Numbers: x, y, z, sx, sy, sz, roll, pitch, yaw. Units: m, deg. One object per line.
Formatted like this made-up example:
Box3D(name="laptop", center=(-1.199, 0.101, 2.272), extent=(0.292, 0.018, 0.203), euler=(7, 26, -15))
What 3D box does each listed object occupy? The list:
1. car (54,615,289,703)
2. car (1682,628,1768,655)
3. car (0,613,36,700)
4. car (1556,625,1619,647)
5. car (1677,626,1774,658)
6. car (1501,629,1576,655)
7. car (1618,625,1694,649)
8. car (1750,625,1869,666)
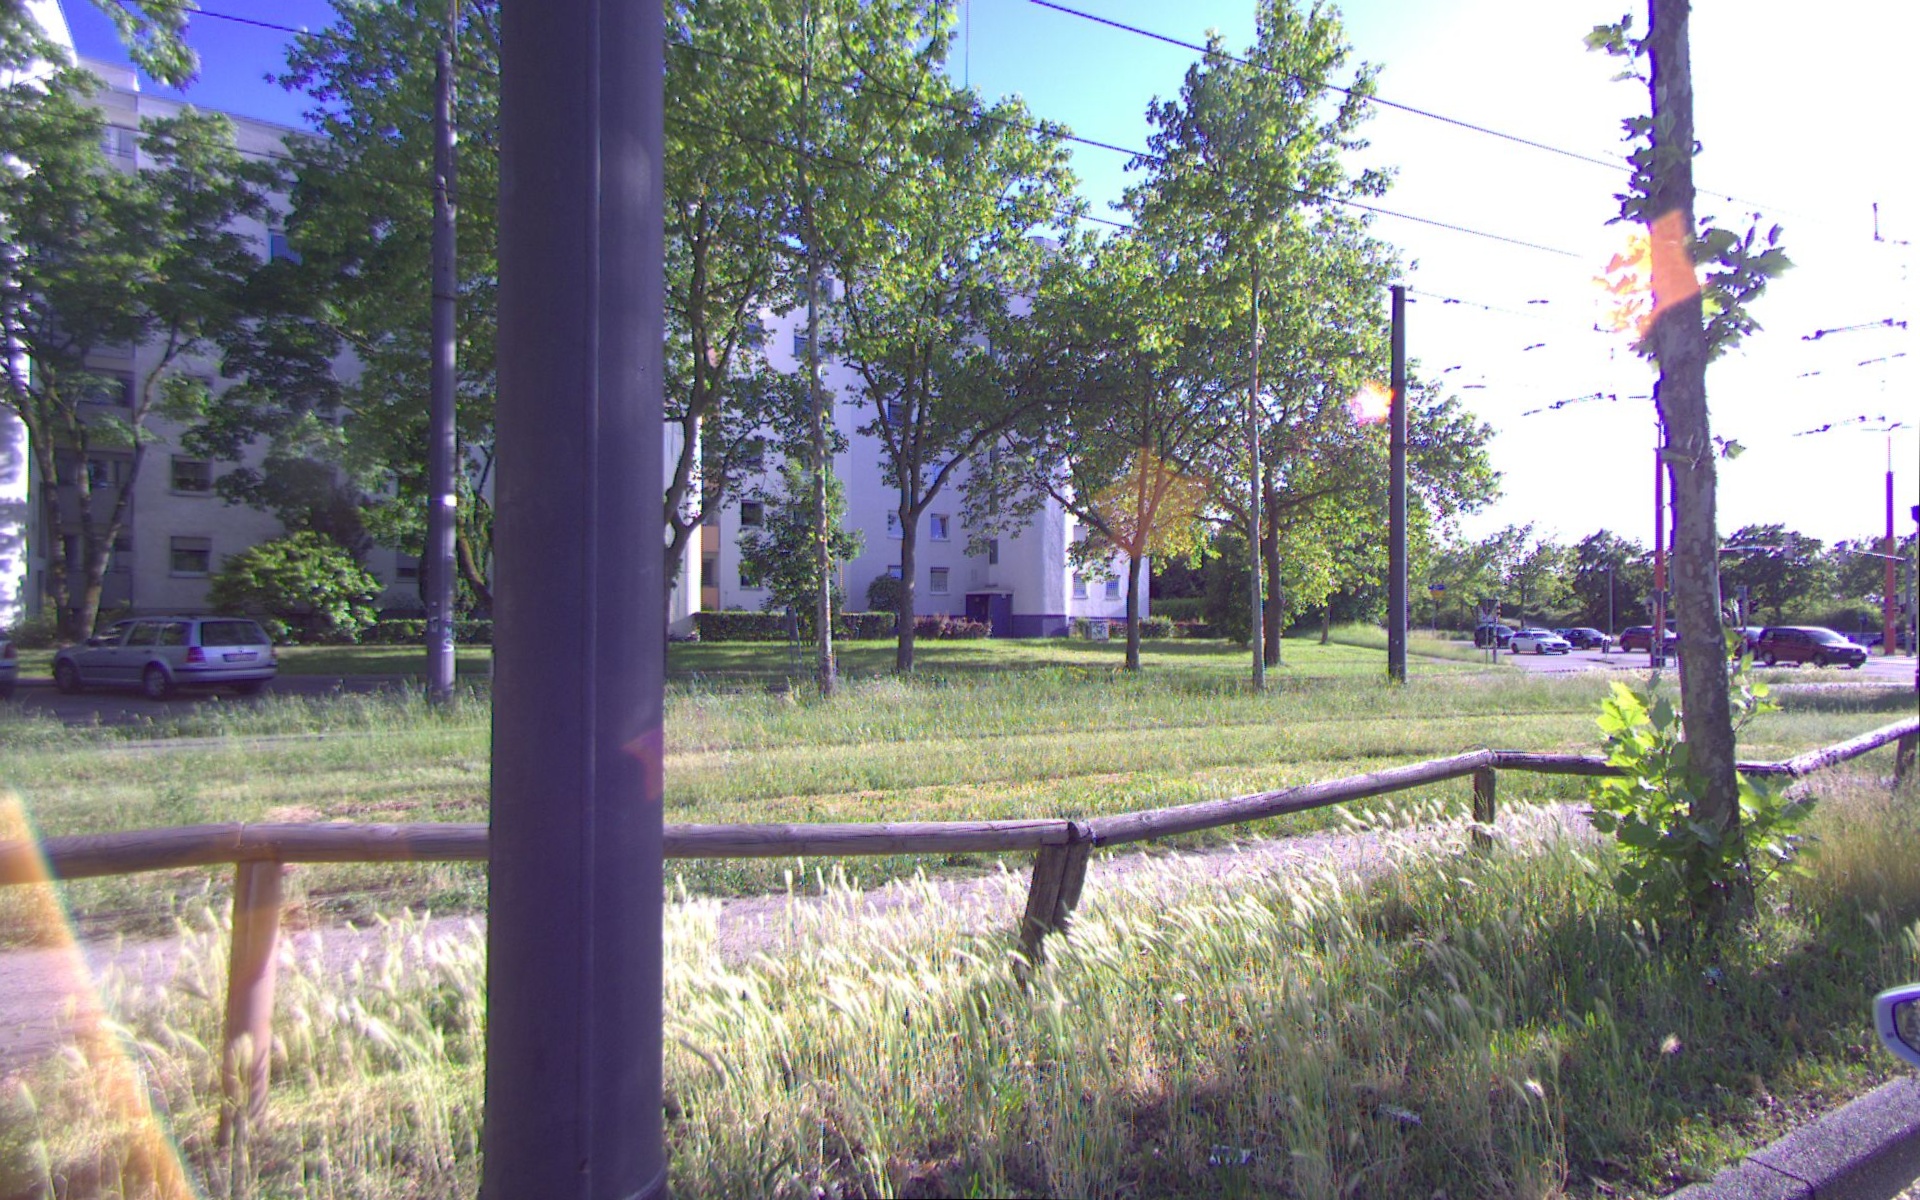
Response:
Box3D(name="car", center=(-14.484, 1.026, 18.482), extent=(3.609, 1.452, 1.732), euler=(0, -1, 20))
Box3D(name="car", center=(45.649, 2.462, 60.042), extent=(1.877, 1.483, 4.222), euler=(1, -1, -2))
Box3D(name="car", center=(-17.928, 0.928, 17.138), extent=(3.609, 1.452, 1.703), euler=(0, -1, 20))
Box3D(name="car", center=(44.993, 2.562, 72.142), extent=(1.877, 1.483, 4.055), euler=(1, -1, -3))
Box3D(name="car", center=(42.337, 2.291, 55.681), extent=(1.806, 1.690, 4.565), euler=(1, -1, -1))
Box3D(name="car", center=(38.432, 2.740, 66.882), extent=(1.961, 1.596, 4.929), euler=(1, -1, -3))
Box3D(name="car", center=(45.517, 2.404, 65.807), extent=(1.877, 1.483, 4.373), euler=(1, -1, -2))
Box3D(name="car", center=(39.377, 2.066, 46.705), extent=(1.806, 1.755, 4.358), euler=(1, -1, -1))
